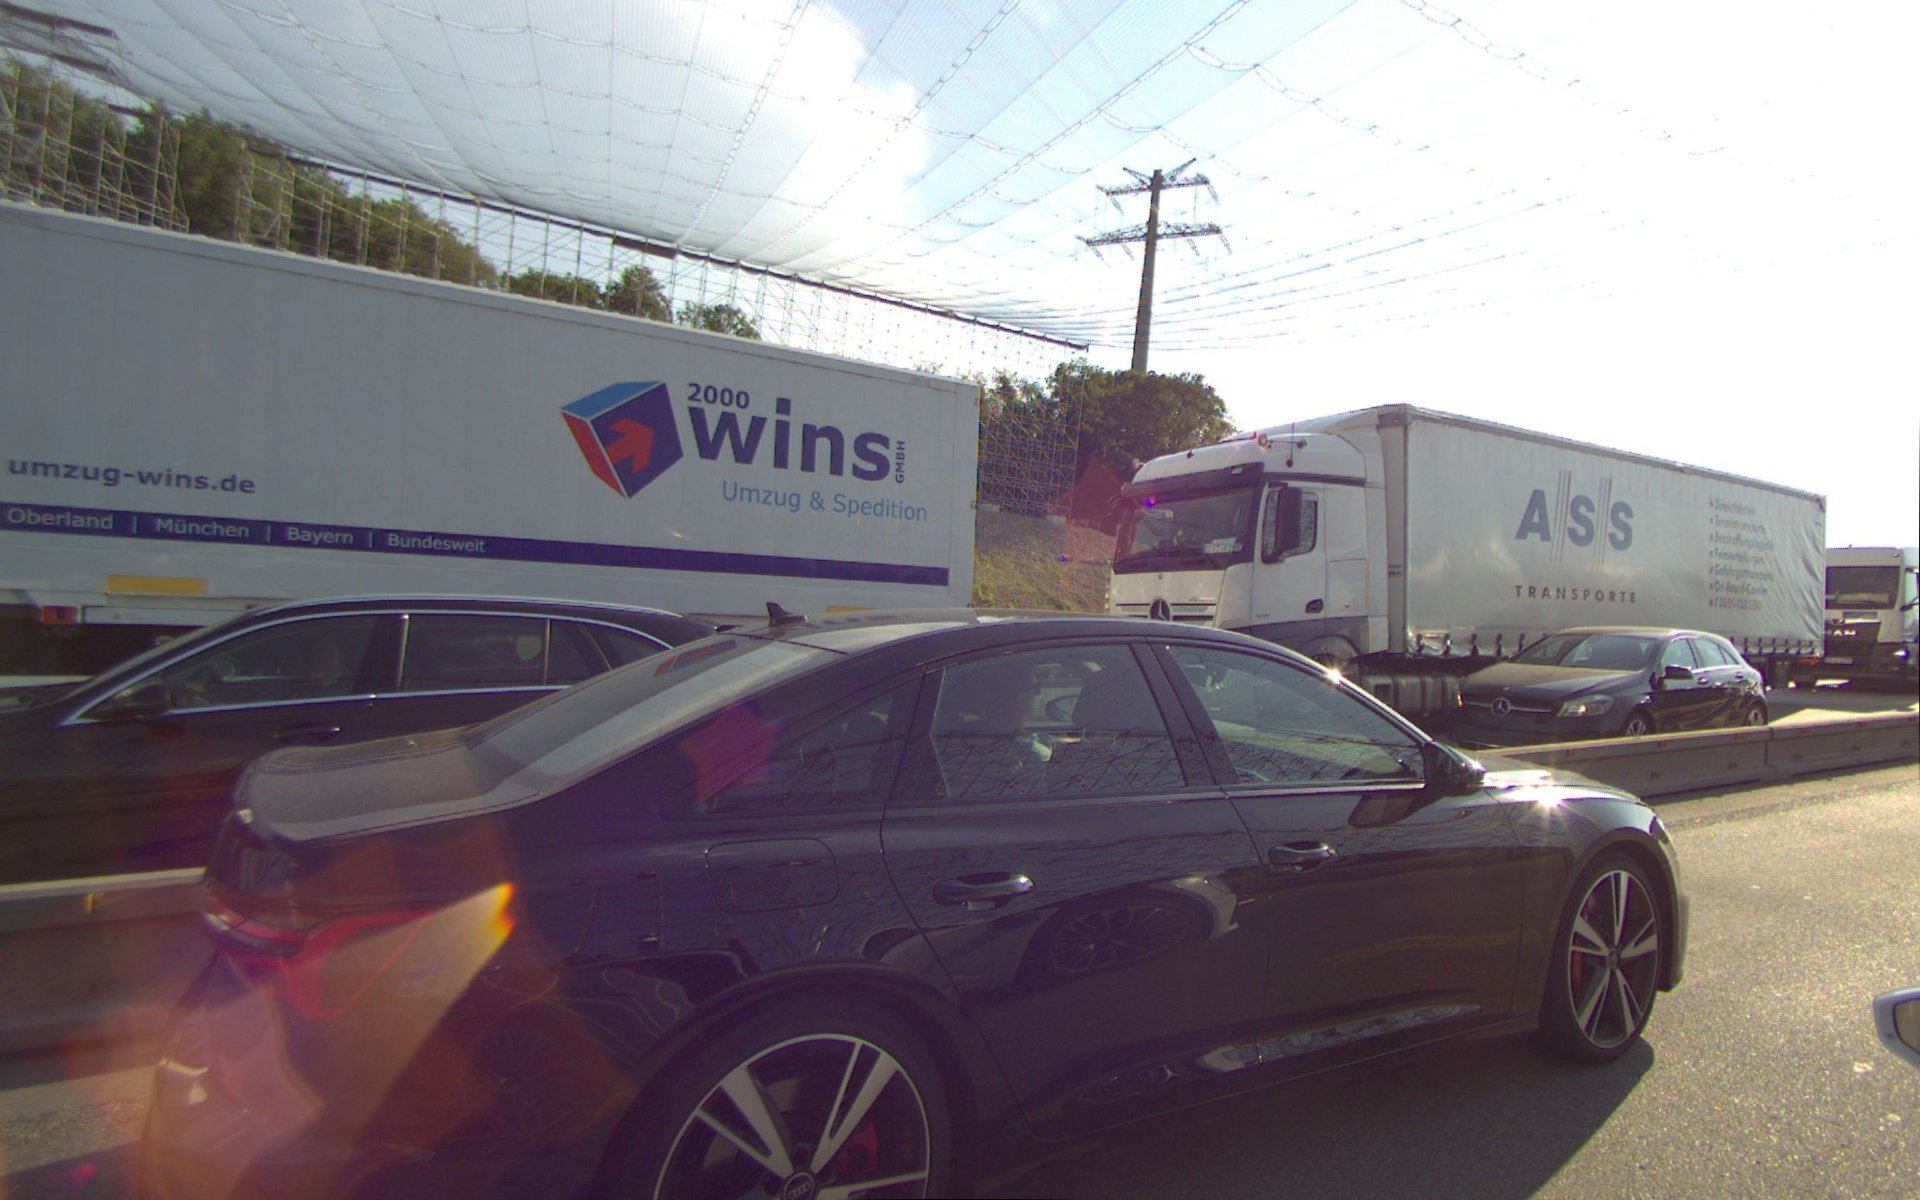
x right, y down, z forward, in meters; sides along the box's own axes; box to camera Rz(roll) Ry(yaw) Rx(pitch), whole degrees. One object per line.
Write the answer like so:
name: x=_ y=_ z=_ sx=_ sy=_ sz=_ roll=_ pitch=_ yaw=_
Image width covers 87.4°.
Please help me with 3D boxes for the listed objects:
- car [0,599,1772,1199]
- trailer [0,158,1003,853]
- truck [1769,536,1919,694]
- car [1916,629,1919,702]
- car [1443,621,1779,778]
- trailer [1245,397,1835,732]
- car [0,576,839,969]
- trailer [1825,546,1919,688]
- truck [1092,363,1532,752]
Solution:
car: x=0.395 y=0.759 z=3.267 sx=4.904 sy=1.417 sz=1.925 roll=1 pitch=0 yaw=-31
trailer: x=-5.918 y=-0.548 z=7.272 sx=13.183 sy=4.069 sz=2.656 roll=2 pitch=0 yaw=-32
truck: x=22.134 y=0.373 z=24.245 sx=5.556 sy=3.415 sz=2.400 roll=2 pitch=0 yaw=-33
car: x=20.884 y=1.339 z=19.870 sx=4.195 sy=1.417 sz=1.785 roll=2 pitch=0 yaw=-31
car: x=7.159 y=0.977 z=10.959 sx=3.858 sy=1.394 sz=1.598 roll=2 pitch=0 yaw=-32
trailer: x=10.529 y=-0.261 z=16.838 sx=13.946 sy=4.016 sz=2.414 roll=2 pitch=0 yaw=-33
car: x=-3.096 y=0.665 z=5.091 sx=4.611 sy=1.469 sz=1.768 roll=2 pitch=0 yaw=-32
trailer: x=27.604 y=0.550 z=27.763 sx=11.922 sy=3.406 sz=2.294 roll=2 pitch=0 yaw=-33
truck: x=4.696 y=-0.394 z=13.128 sx=5.556 sy=4.099 sz=2.460 roll=2 pitch=0 yaw=-32
